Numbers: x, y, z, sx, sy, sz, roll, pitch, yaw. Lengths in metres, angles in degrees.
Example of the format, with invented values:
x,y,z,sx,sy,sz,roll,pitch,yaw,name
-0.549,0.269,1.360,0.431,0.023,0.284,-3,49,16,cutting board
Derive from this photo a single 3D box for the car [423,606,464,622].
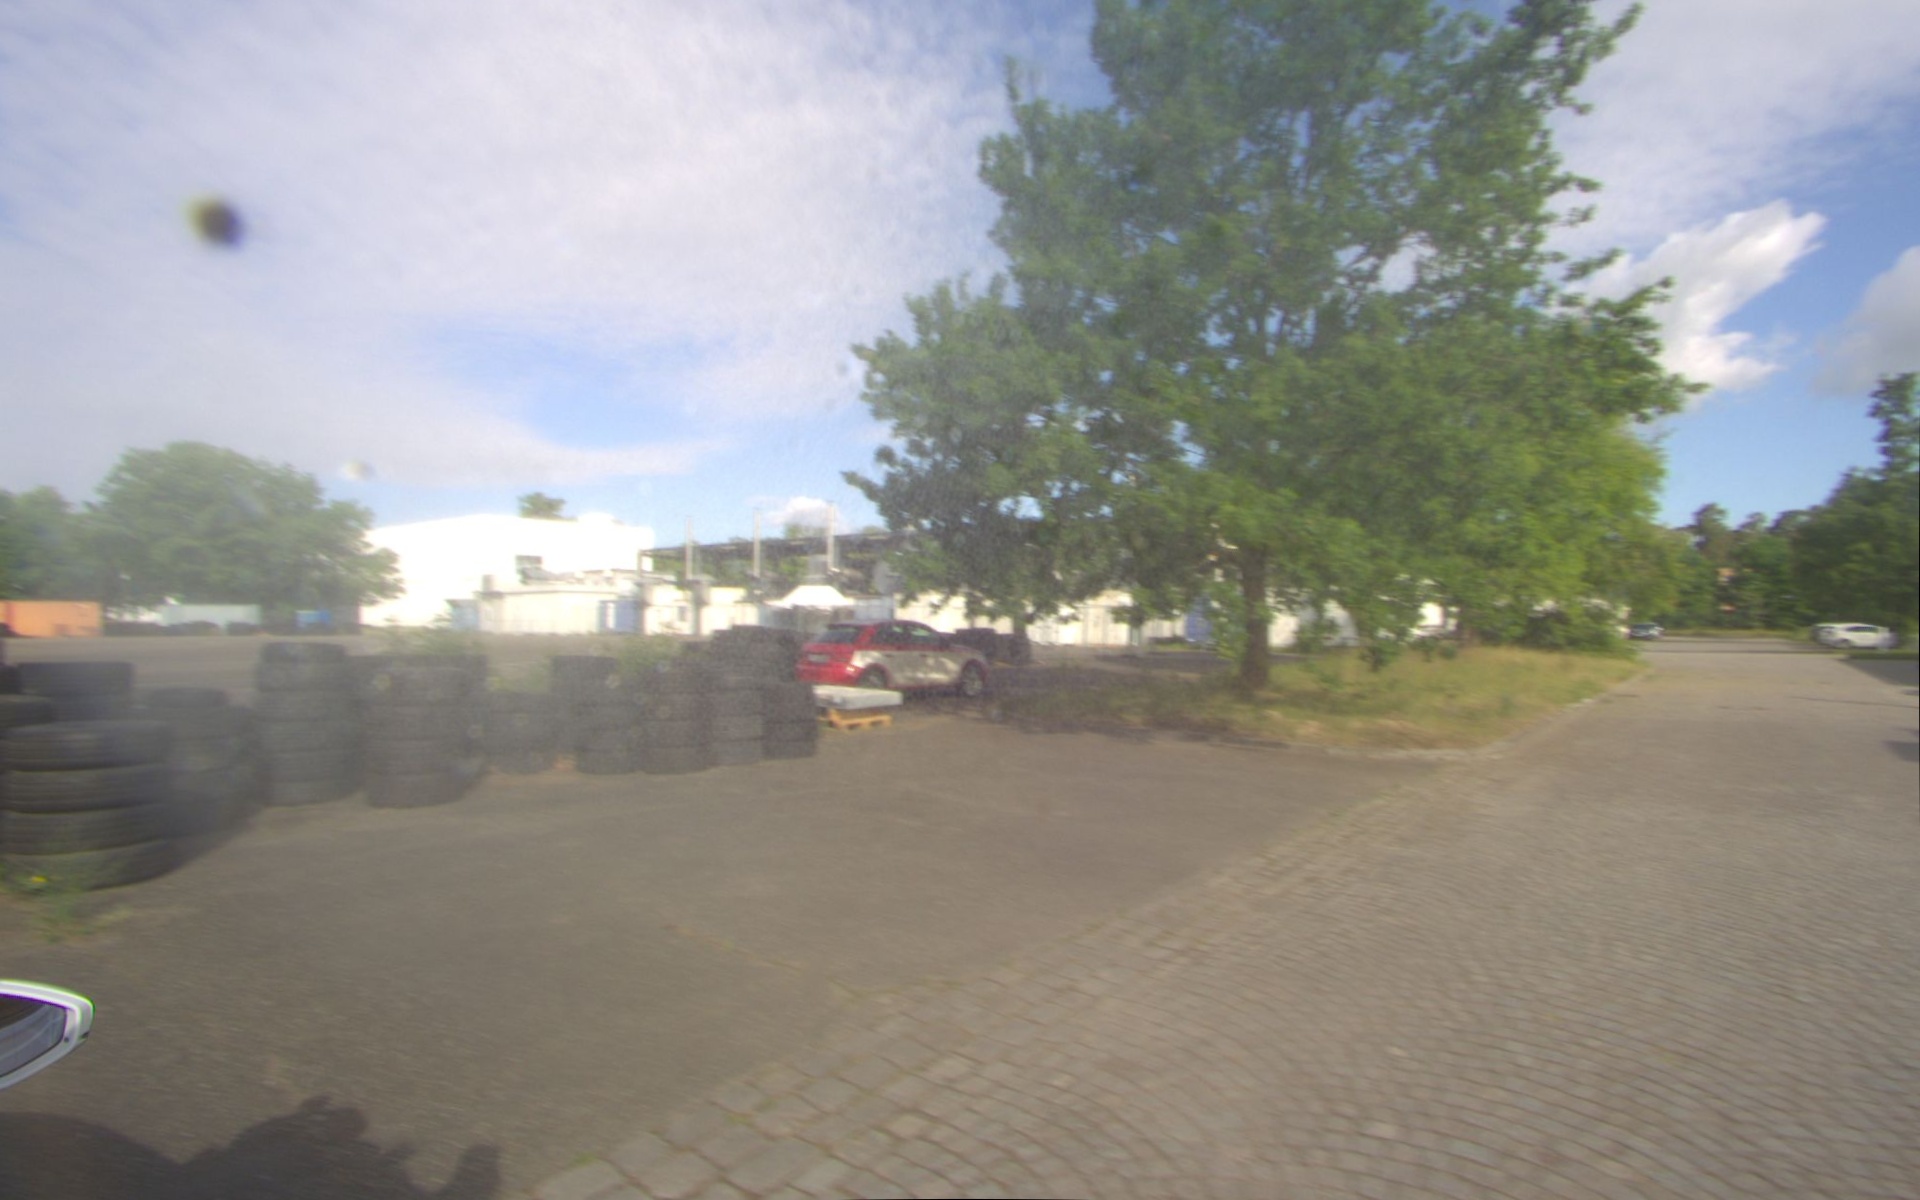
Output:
x,y,z,sx,sy,sz,roll,pitch,yaw,name
-51.232,1.376,99.250,4.488,1.585,1.863,0,0,36,car

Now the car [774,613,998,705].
x,y,z,sx,sy,sz,roll,pitch,yaw,name
-1.264,1.014,18.331,1.710,1.483,3.964,0,-1,44,car

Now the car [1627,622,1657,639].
x,y,z,sx,sy,sz,roll,pitch,yaw,name
58.082,2.578,85.328,1.971,1.389,3.980,0,-1,32,car

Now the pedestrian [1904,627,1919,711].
x,y,z,sx,sy,sz,roll,pitch,yaw,name
18.682,1.314,19.163,0.858,1.579,1.019,1,0,42,pedestrian

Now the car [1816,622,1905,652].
x,y,z,sx,sy,sz,roll,pitch,yaw,name
54.654,2.216,60.786,3.957,1.664,1.982,0,-1,44,car

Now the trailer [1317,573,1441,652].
x,y,z,sx,sy,sz,roll,pitch,yaw,name
20.816,0.631,49.315,2.891,3.516,9.827,1,-1,40,trailer

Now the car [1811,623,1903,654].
x,y,z,sx,sy,sz,roll,pitch,yaw,name
52.795,2.241,58.959,3.957,1.664,1.982,0,-1,44,car
